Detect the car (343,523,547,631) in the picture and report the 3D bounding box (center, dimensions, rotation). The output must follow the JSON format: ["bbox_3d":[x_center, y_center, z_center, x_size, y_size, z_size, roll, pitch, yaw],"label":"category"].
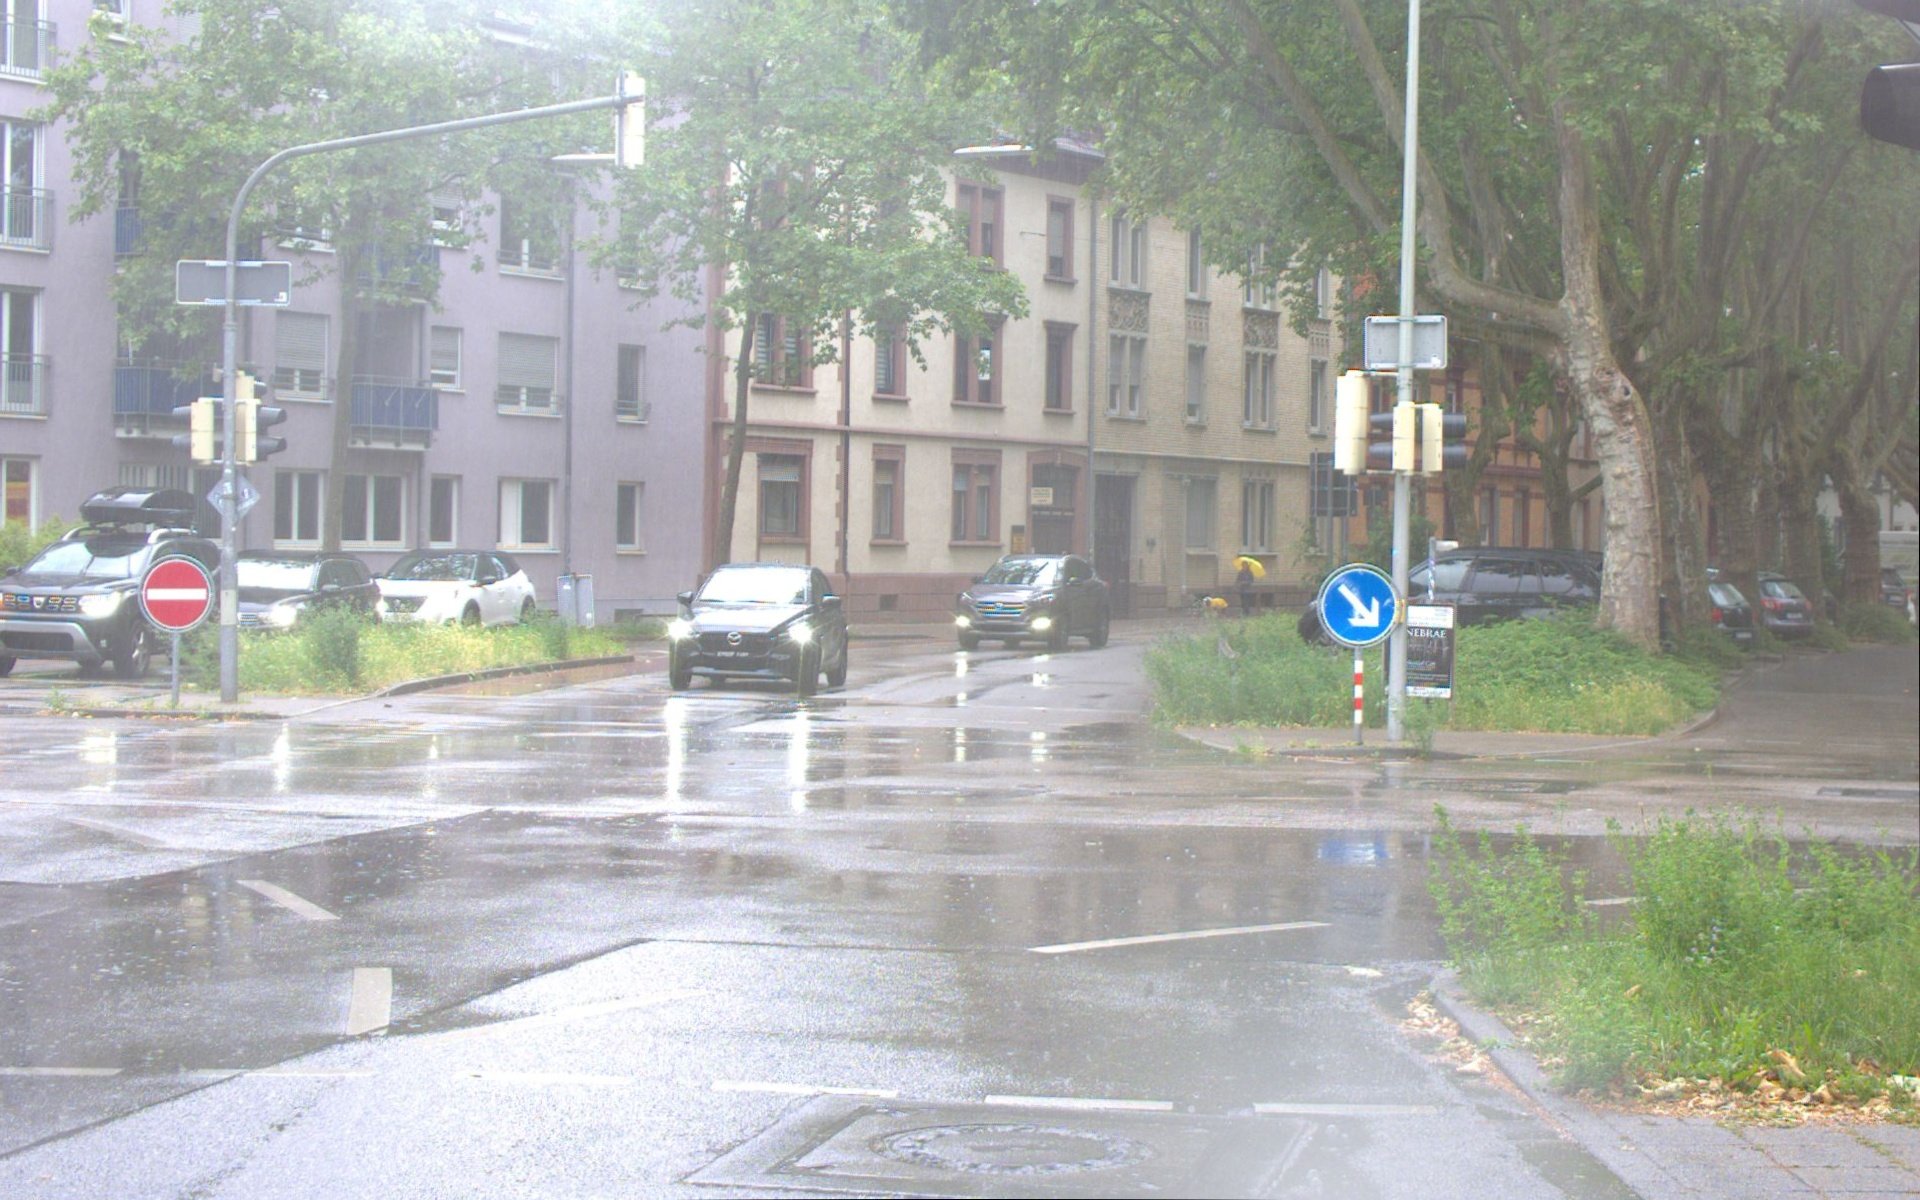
[{"bbox_3d":[-7.721,-0.372,51.917,1.678,1.547,4.197,0,1,12],"label":"car"}]

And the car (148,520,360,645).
[{"bbox_3d":[-9.164,-0.251,44.901,1.725,1.547,3.559,-1,1,5],"label":"car"}]

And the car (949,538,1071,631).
[{"bbox_3d":[0.902,-0.296,60.341,1.603,1.547,3.558,0,1,10],"label":"car"}]

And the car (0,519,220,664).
[{"bbox_3d":[-9.741,-0.121,38.769,1.725,1.547,3.559,-1,1,5],"label":"car"}]

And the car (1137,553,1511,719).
[{"bbox_3d":[3.512,0.333,33.007,3.480,1.518,1.519,0,1,9],"label":"car"}]

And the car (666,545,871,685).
[{"bbox_3d":[-2.203,0.143,40.463,1.603,1.547,3.558,0,1,10],"label":"car"}]

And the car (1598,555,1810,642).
[{"bbox_3d":[14.184,-0.038,65.569,3.611,1.612,1.679,0,1,28],"label":"car"}]
